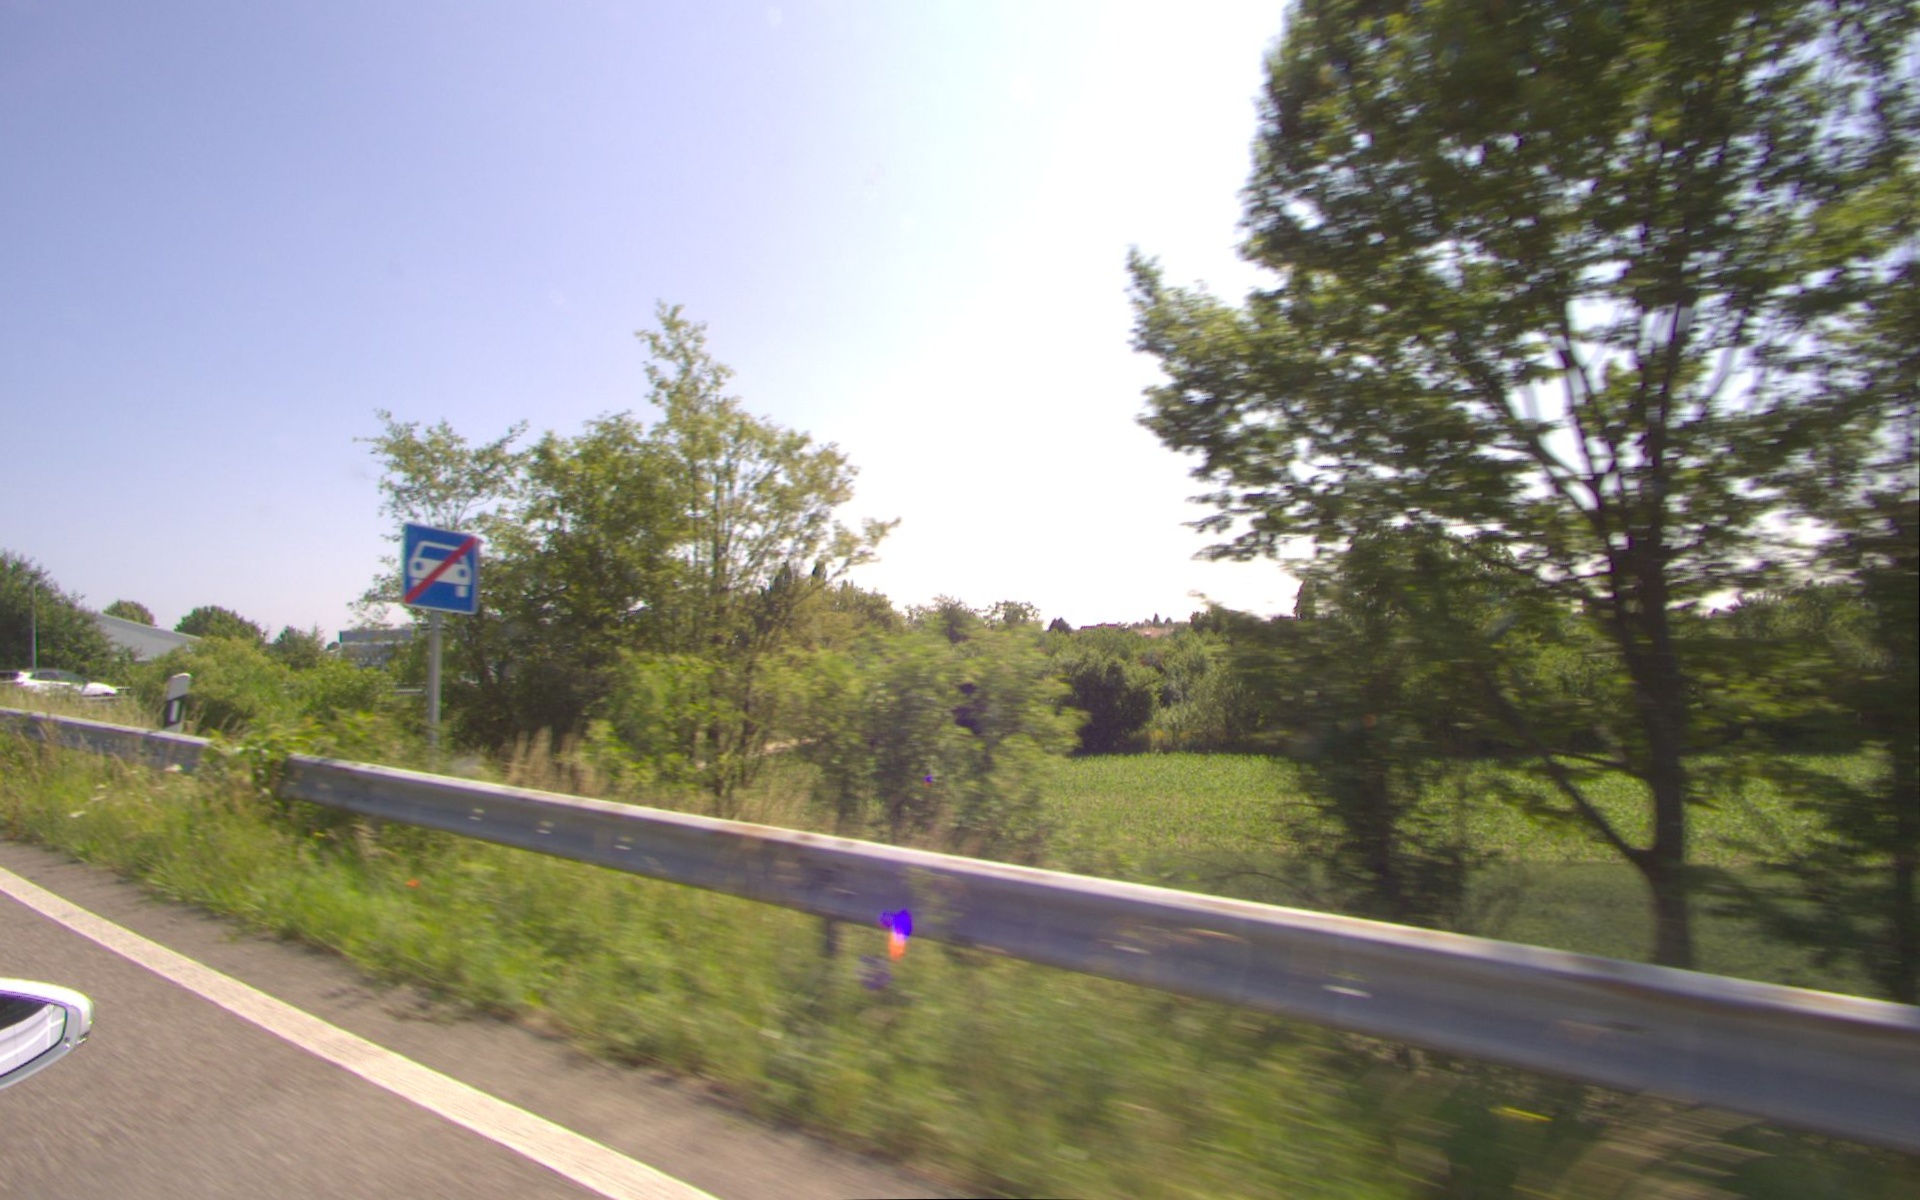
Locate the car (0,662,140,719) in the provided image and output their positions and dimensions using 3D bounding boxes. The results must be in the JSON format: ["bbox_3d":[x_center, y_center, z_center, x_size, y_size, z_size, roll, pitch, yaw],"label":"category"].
[{"bbox_3d":[-31.159,3.100,34.789,1.779,1.712,4.001,-2,-2,6],"label":"car"}]
